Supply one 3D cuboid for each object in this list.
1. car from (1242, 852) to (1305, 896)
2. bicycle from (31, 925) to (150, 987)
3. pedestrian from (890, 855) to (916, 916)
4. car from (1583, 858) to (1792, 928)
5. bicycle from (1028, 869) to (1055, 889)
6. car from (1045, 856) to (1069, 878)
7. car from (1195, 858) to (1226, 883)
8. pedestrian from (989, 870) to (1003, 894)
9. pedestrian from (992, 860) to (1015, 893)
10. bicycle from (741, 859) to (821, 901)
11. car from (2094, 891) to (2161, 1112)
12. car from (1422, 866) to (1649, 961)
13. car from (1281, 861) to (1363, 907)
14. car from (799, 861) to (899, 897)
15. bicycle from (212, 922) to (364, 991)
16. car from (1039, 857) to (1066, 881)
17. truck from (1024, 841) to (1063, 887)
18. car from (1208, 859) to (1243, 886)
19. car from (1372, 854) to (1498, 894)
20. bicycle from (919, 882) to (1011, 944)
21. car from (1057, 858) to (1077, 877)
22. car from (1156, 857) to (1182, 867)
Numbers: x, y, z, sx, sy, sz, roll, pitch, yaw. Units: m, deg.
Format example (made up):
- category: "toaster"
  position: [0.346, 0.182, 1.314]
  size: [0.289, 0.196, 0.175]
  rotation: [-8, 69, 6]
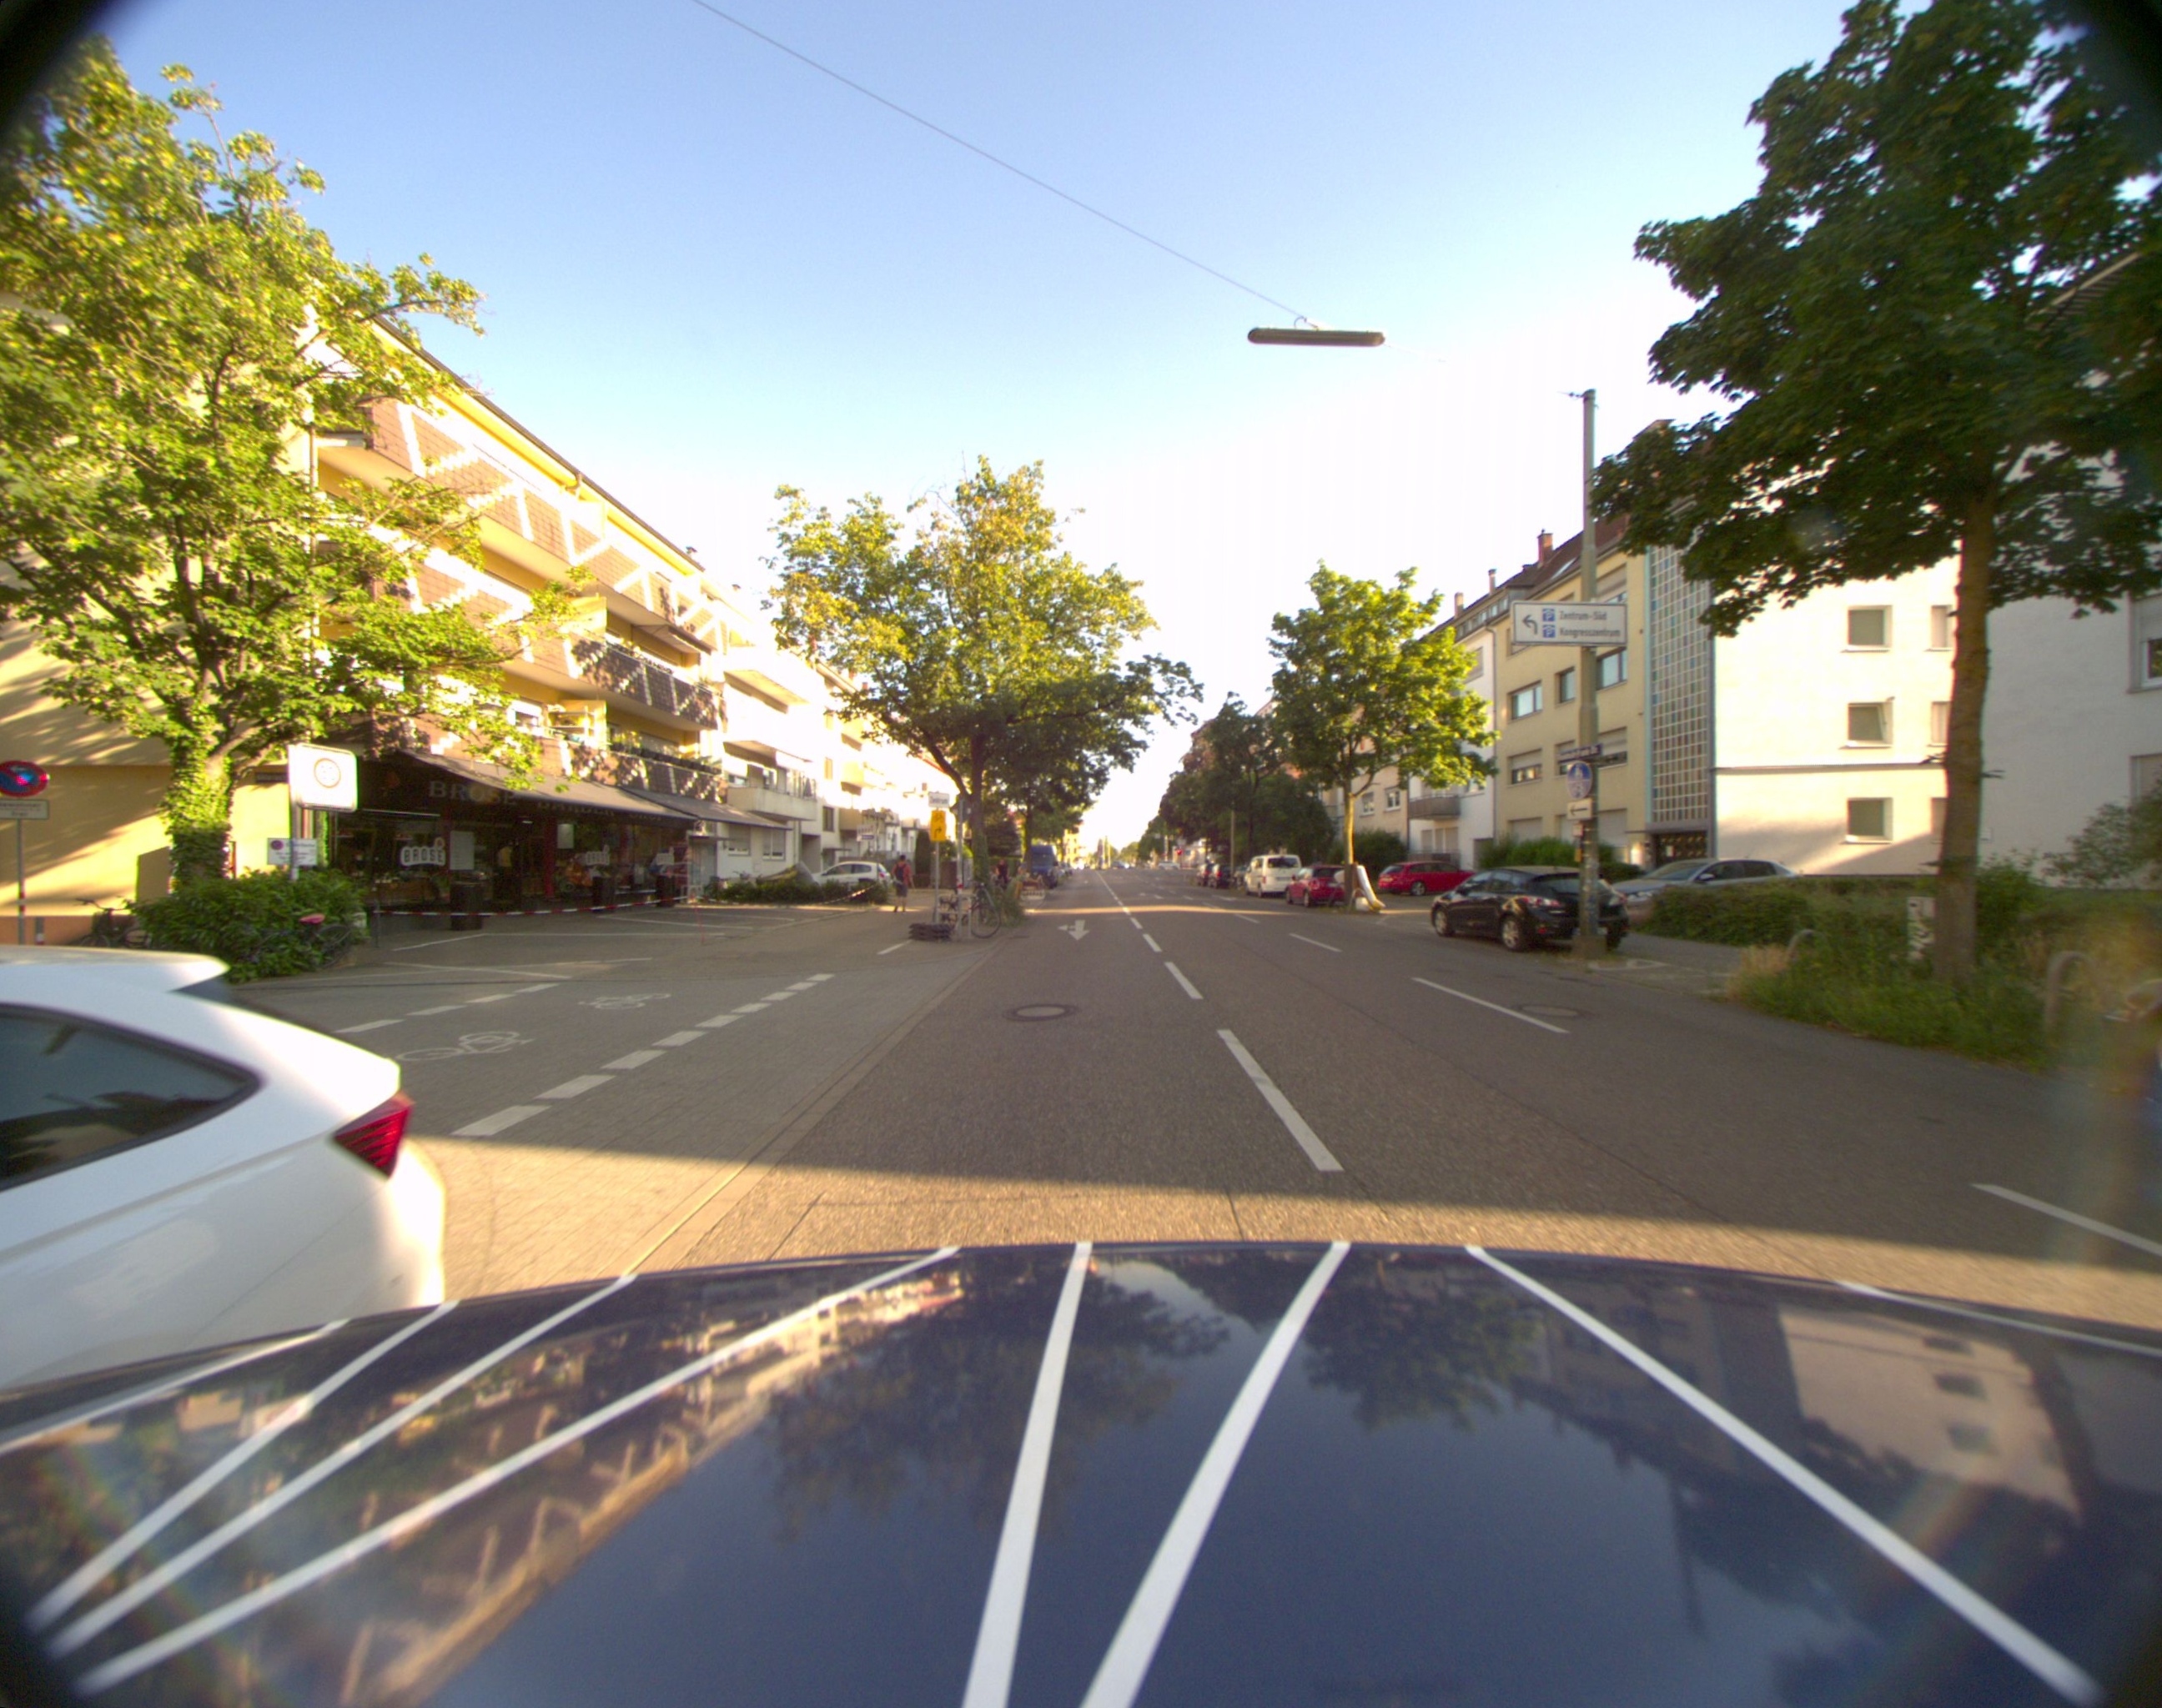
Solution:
- category: "car"
  position: [8.388, 0.843, 33.459]
  size: [1.740, 1.799, 4.192]
  rotation: [-1, 0, 1]
- category: "bicycle"
  position: [-13.712, 1.396, 10.546]
  size: [0.428, 0.739, 0.913]
  rotation: [0, 0, 2]
- category: "pedestrian"
  position: [-5.220, 0.924, 22.290]
  size: [0.619, 1.761, 0.562]
  rotation: [0, -1, 1]
- category: "car"
  position: [13.883, 0.855, 17.542]
  size: [3.467, 1.515, 1.686]
  rotation: [0, 0, 2]
- category: "bicycle"
  position: [-2.212, 1.403, 42.555]
  size: [1.469, 1.058, 0.445]
  rotation: [0, 0, 1]
- category: "car"
  position: [-1.938, 1.000, 62.084]
  size: [1.704, 1.739, 4.000]
  rotation: [0, 0, 2]
- category: "car"
  position: [8.295, 1.034, 48.781]
  size: [1.407, 1.456, 3.683]
  rotation: [-2, 0, 2]
- category: "pedestrian"
  position: [-3.875, 1.262, 34.518]
  size: [0.553, 1.053, 0.532]
  rotation: [0, 0, 2]
- category: "pedestrian"
  position: [-3.394, 0.975, 33.224]
  size: [0.917, 1.435, 0.811]
  rotation: [-1, 0, -1]
- category: "bicycle"
  position: [-10.600, 0.891, 26.894]
  size: [2.459, 1.433, 0.928]
  rotation: [-1, 0, -2]
- category: "car"
  position: [7.740, 0.948, 2.972]
  size: [1.641, 1.399, 4.444]
  rotation: [0, 0, 0]
- category: "car"
  position: [8.150, 0.978, 14.119]
  size: [1.862, 1.477, 4.000]
  rotation: [0, 0, 1]
- category: "car"
  position: [8.298, 0.993, 26.516]
  size: [1.740, 1.455, 3.636]
  rotation: [-1, 0, 1]
- category: "car"
  position: [-10.009, 1.059, 33.034]
  size: [3.878, 1.496, 1.575]
  rotation: [0, 0, -4]
- category: "bicycle"
  position: [-11.069, 1.409, 10.677]
  size: [0.486, 0.763, 1.531]
  rotation: [0, 0, 2]
- category: "car"
  position: [-2.118, 1.114, 57.351]
  size: [1.704, 1.739, 4.000]
  rotation: [0, 0, 2]
- category: "truck"
  position: [-2.188, 0.584, 46.009]
  size: [1.998, 2.629, 5.616]
  rotation: [-1, 0, 1]
- category: "car"
  position: [8.443, 1.059, 44.606]
  size: [1.407, 1.397, 3.683]
  rotation: [-2, 0, 2]
- category: "car"
  position: [14.733, 0.809, 31.726]
  size: [4.563, 1.397, 1.740]
  rotation: [-2, 0, -9]
- category: "bicycle"
  position: [-2.454, 1.203, 15.952]
  size: [1.894, 1.155, 0.616]
  rotation: [1, 1, 28]
- category: "car"
  position: [-1.266, 1.267, 72.035]
  size: [1.704, 1.739, 4.000]
  rotation: [0, 0, 2]
- category: "car"
  position: [15.386, 1.372, 132.487]
  size: [3.988, 1.575, 2.004]
  rotation: [-1, 0, 38]
